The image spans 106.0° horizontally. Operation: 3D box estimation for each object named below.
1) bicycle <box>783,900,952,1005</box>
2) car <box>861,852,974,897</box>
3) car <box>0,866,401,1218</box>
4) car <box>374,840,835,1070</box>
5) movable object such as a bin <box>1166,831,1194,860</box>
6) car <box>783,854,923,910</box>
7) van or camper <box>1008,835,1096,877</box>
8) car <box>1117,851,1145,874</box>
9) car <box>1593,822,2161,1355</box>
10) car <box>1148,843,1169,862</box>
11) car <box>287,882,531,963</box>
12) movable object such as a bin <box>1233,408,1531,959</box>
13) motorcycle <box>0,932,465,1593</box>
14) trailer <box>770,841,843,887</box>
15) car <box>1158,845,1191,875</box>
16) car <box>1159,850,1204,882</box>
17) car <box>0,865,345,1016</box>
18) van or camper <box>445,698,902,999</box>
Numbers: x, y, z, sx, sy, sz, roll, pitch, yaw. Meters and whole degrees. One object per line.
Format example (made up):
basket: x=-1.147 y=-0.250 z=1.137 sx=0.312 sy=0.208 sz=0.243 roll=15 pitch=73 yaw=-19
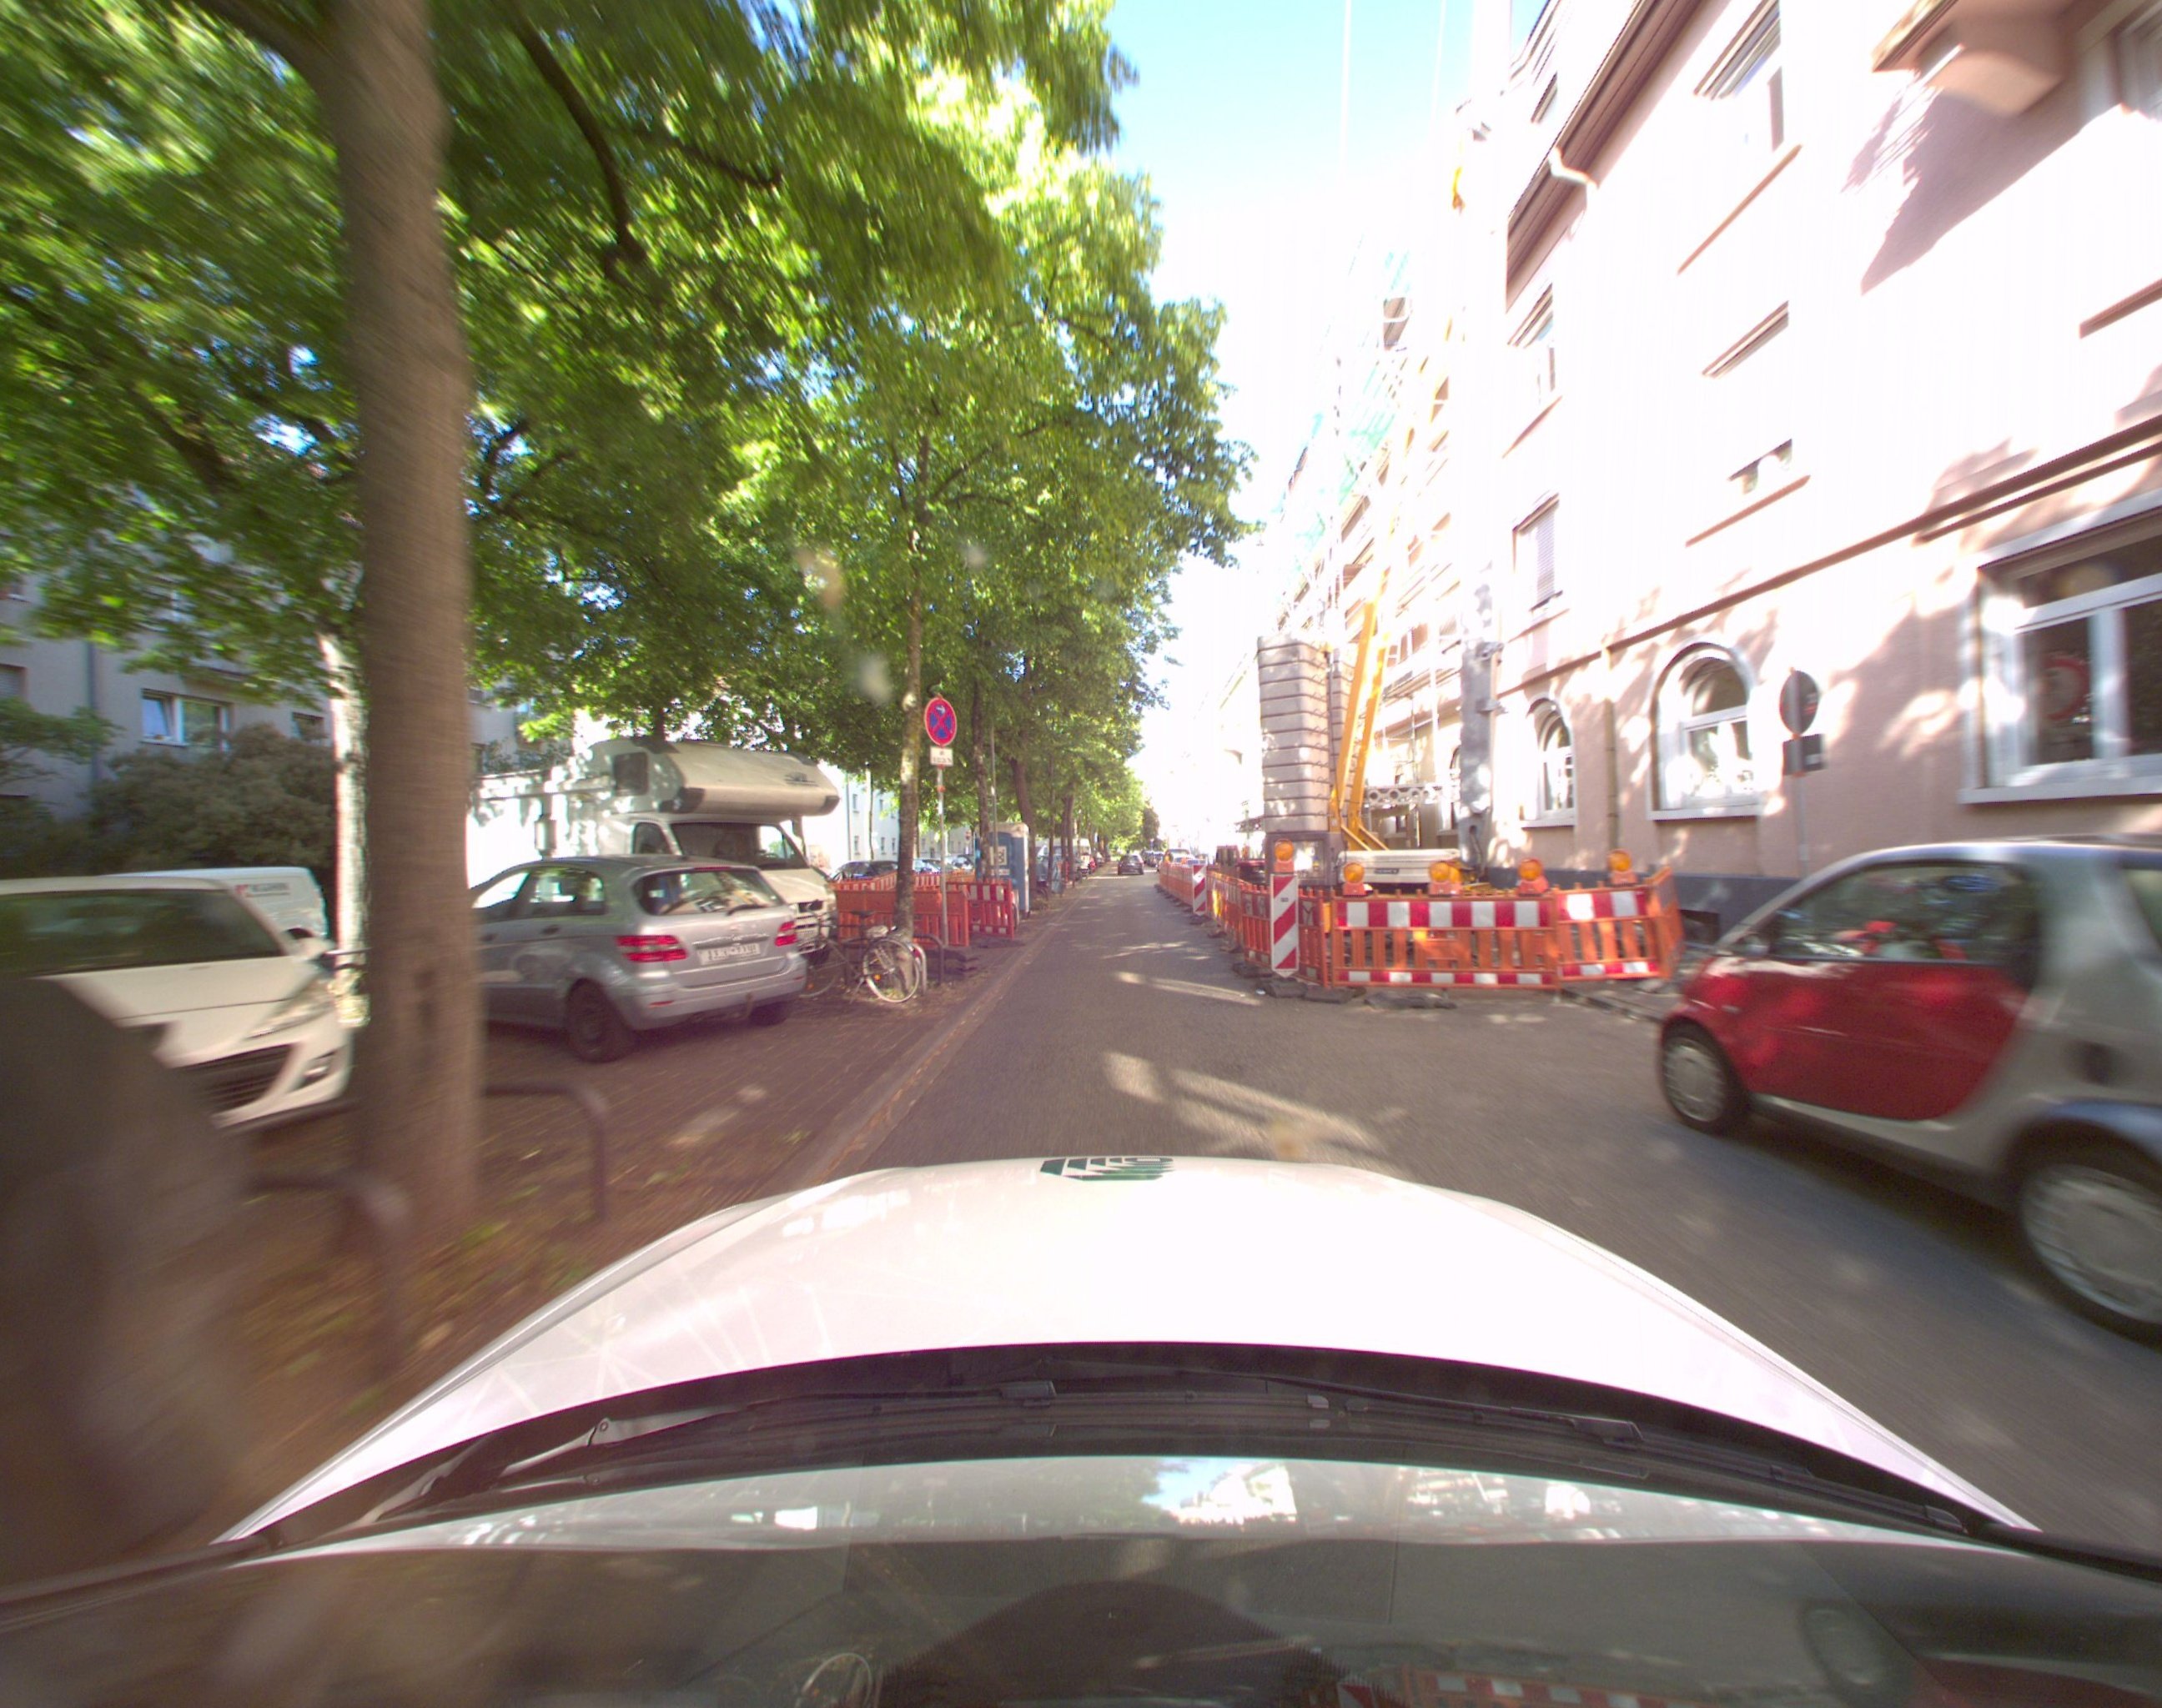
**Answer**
bicycle: x=-2.299 y=1.011 z=8.671 sx=1.879 sy=1.006 sz=0.433 roll=-2 pitch=0 yaw=26
car: x=-6.425 y=0.812 z=31.929 sx=3.948 sy=1.607 sz=2.013 roll=-2 pitch=0 yaw=30
car: x=-5.980 y=0.870 z=5.043 sx=3.914 sy=1.474 sz=1.835 roll=-2 pitch=0 yaw=37
car: x=-4.423 y=0.754 z=7.506 sx=3.915 sy=1.629 sz=1.834 roll=-2 pitch=0 yaw=28
movable object such as a bin: x=8.059 y=-0.702 z=66.571 sx=1.790 sy=2.233 sz=4.608 roll=-2 pitch=0 yaw=2
car: x=-7.198 y=0.884 z=25.707 sx=3.948 sy=1.607 sz=2.013 roll=-2 pitch=0 yaw=30
van or camper: x=-1.914 y=0.140 z=53.115 sx=5.280 sy=2.474 sz=2.309 roll=-2 pitch=0 yaw=35
car: x=3.442 y=0.561 z=56.808 sx=1.790 sy=1.503 sz=3.587 roll=-2 pitch=0 yaw=2
car: x=3.920 y=0.644 z=3.622 sx=1.586 sy=1.530 sz=2.781 roll=-1 pitch=0 yaw=2
car: x=7.619 y=-0.177 z=80.233 sx=1.790 sy=1.800 sz=3.587 roll=-2 pitch=0 yaw=2
car: x=-14.168 y=1.368 z=17.521 sx=1.810 sy=1.339 sz=3.968 roll=-2 pitch=0 yaw=2
movable object such as a bin: x=4.409 y=-2.083 z=11.942 sx=3.445 sy=6.759 sz=2.383 roll=-1 pitch=0 yaw=35
motorcycle: x=-3.155 y=0.902 z=2.246 sx=2.534 sy=1.258 sz=0.765 roll=-2 pitch=0 yaw=10
trailer: x=-13.171 y=0.439 z=39.300 sx=1.986 sy=2.013 sz=4.002 roll=-2 pitch=0 yaw=2
car: x=6.095 y=0.376 z=53.609 sx=1.790 sy=1.800 sz=3.587 roll=-2 pitch=0 yaw=2
car: x=4.826 y=0.549 z=39.579 sx=1.790 sy=1.385 sz=3.587 roll=-2 pitch=0 yaw=2
car: x=-14.305 y=1.168 z=12.234 sx=1.809 sy=1.803 sz=4.851 roll=-3 pitch=0 yaw=4
van or camper: x=-5.939 y=0.010 z=11.520 sx=6.592 sy=3.240 sz=2.511 roll=-2 pitch=0 yaw=31
